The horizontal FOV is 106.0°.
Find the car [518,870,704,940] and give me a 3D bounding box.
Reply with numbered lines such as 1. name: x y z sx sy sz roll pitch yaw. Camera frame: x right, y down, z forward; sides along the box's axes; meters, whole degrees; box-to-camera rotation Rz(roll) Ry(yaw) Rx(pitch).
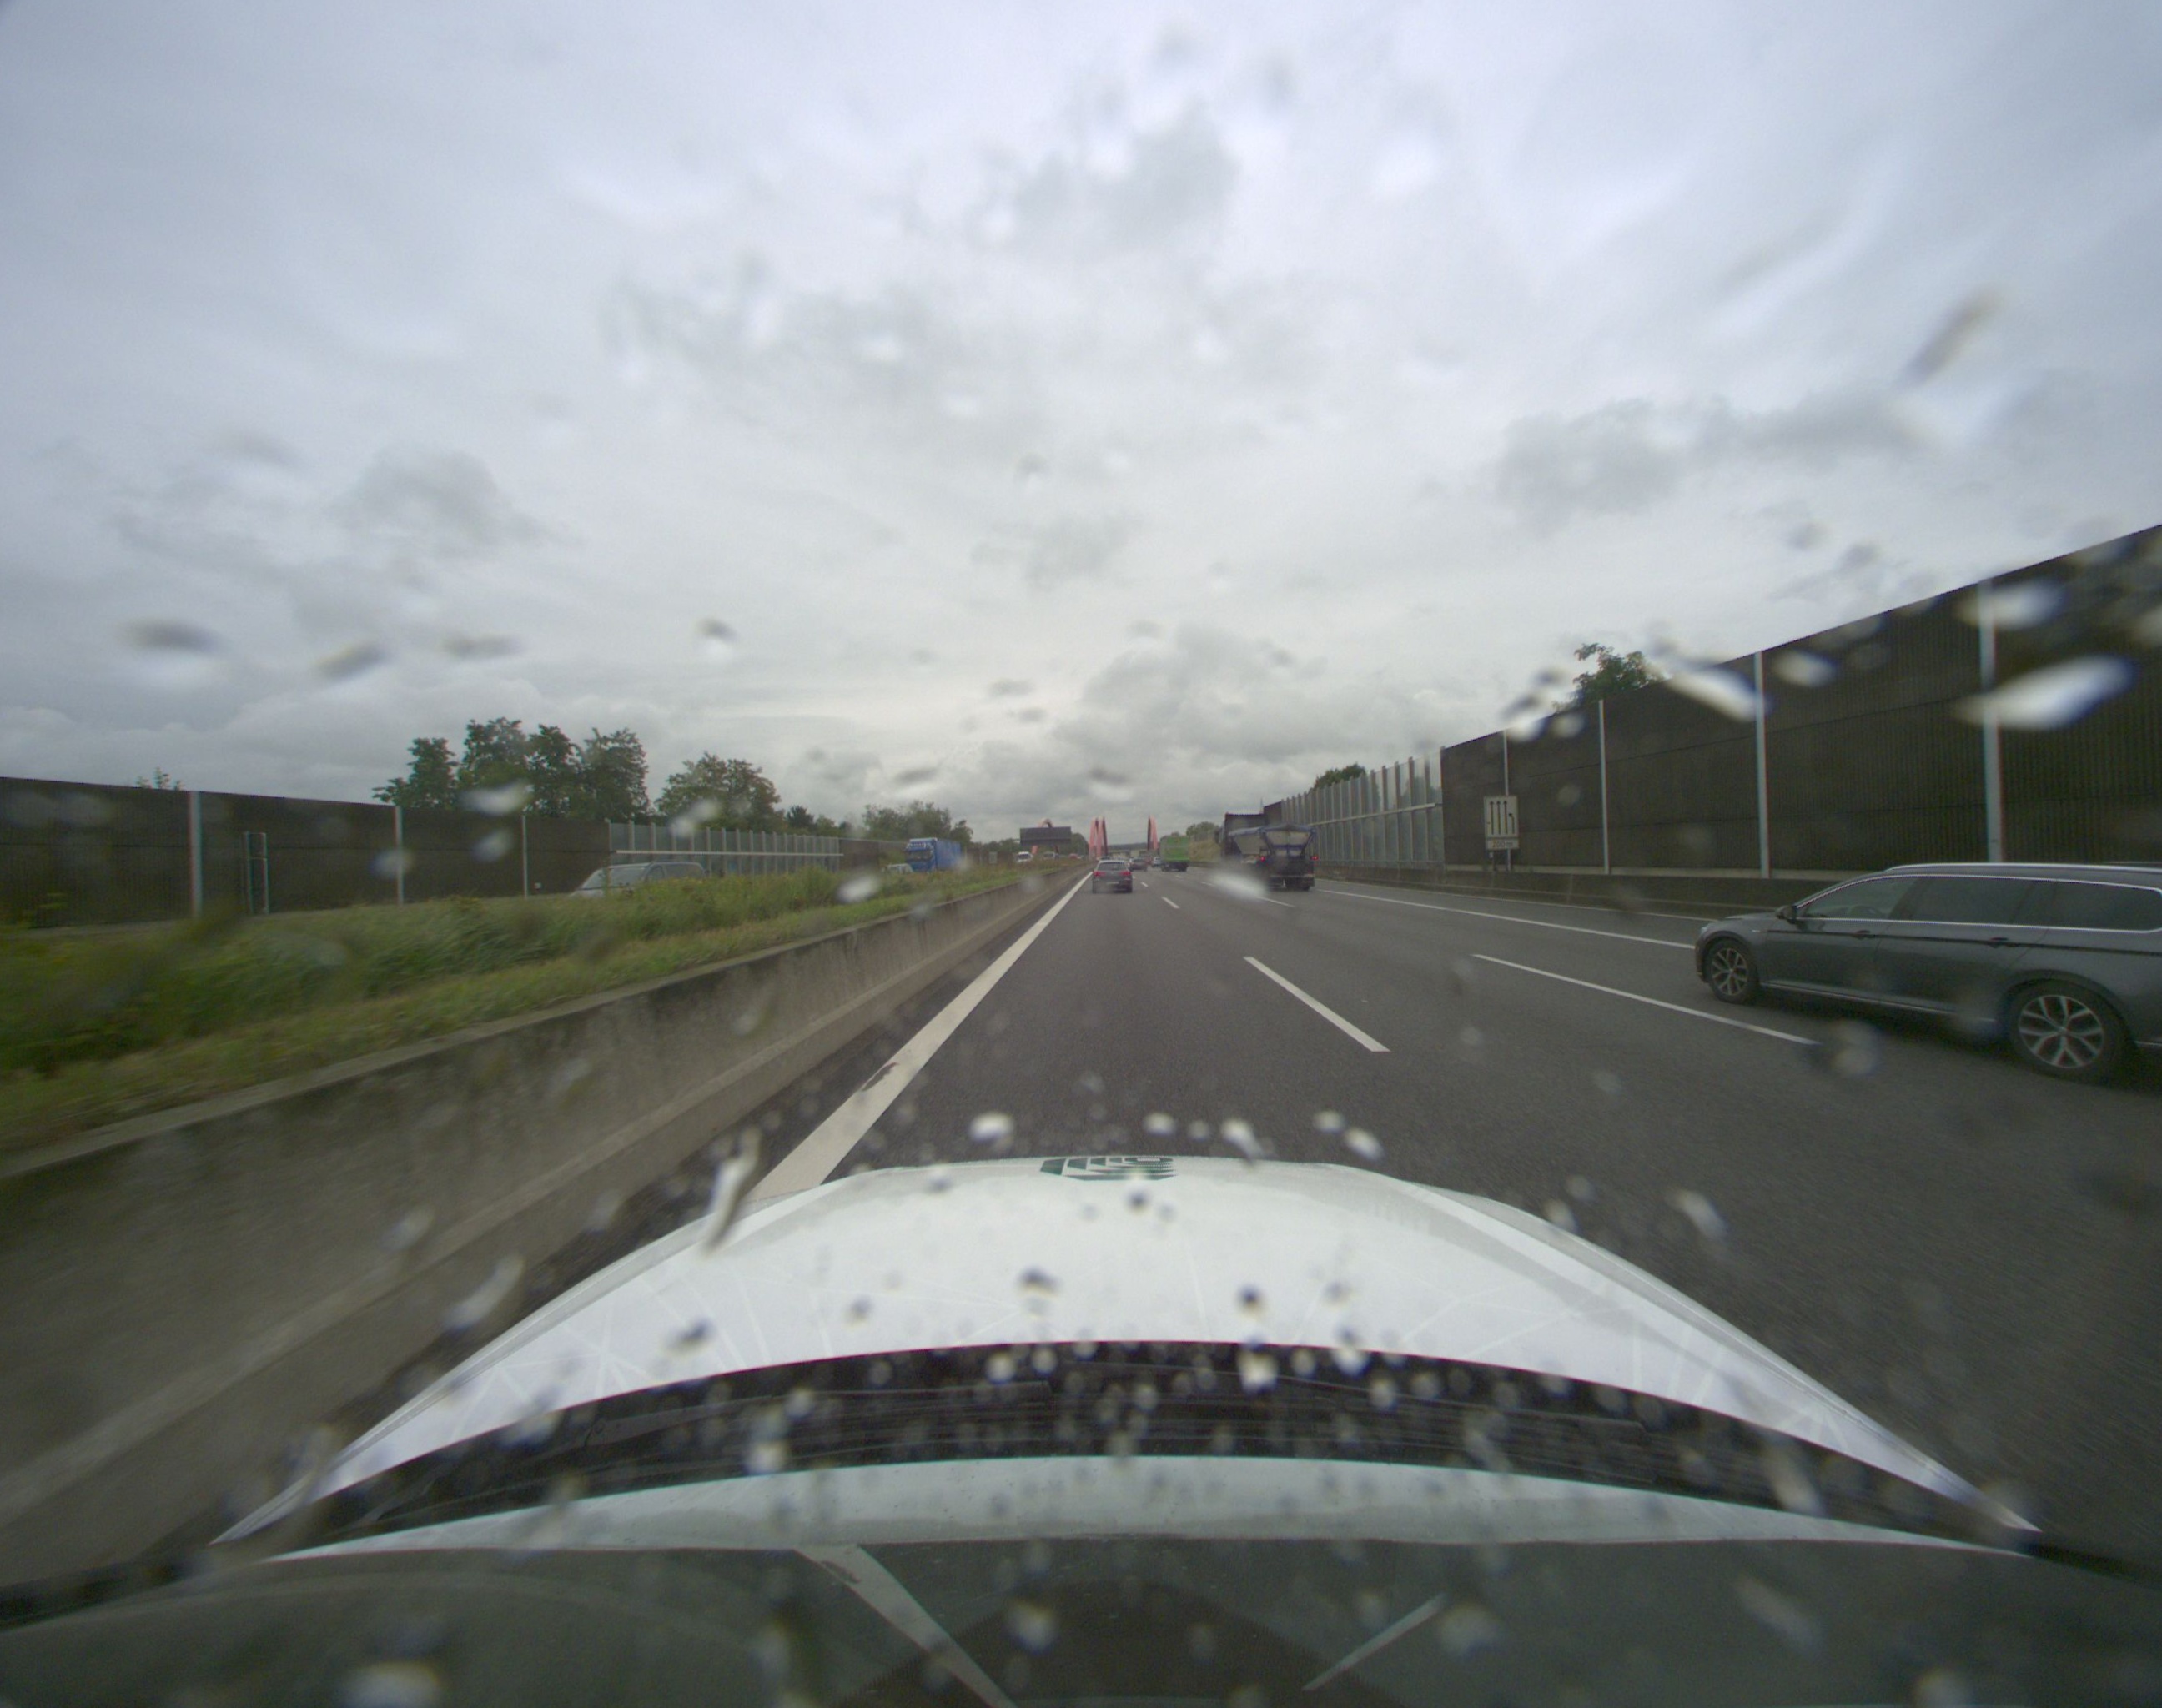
1. car: -12.080 1.247 21.403 1.986 1.541 4.771 0 0 2

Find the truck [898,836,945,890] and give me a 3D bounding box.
1. truck: -14.863 0.818 76.312 3.177 4.858 5.419 0 -1 1

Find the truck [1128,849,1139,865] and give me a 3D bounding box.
1. truck: 15.275 0.916 236.567 3.032 4.734 7.685 0 -1 3

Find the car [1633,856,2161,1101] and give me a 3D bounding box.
1. car: 7.361 0.743 6.857 1.933 1.427 5.290 0 0 1

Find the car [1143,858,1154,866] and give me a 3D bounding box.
1. car: 13.014 1.522 156.447 1.949 1.647 4.002 0 0 2

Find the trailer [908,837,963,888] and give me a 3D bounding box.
1. trailer: -14.827 0.882 84.236 3.206 4.885 13.525 0 0 0

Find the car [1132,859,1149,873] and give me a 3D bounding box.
1. car: 6.388 1.291 87.692 1.775 1.406 3.628 -1 0 2

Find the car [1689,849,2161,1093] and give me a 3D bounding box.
1. car: 7.296 0.712 6.474 1.657 1.456 4.471 0 0 1

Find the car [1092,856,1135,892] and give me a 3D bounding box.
1. car: 1.455 0.847 35.786 1.756 1.453 4.003 0 0 3

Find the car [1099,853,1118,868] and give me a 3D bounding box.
1. car: 3.033 0.721 89.752 1.986 1.585 4.001 -2 0 1

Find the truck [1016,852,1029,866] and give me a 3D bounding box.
1. truck: -12.649 1.132 176.256 2.613 3.019 5.611 0 -1 -1

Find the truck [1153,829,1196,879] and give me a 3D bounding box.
1. truck: 10.266 0.032 90.520 3.981 5.266 11.226 0 -1 3

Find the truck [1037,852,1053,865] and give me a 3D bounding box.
1. truck: -8.653 1.050 196.500 2.944 3.067 8.731 0 0 2

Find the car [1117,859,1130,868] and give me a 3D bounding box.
1. car: 6.995 1.537 134.918 1.986 1.354 4.001 -2 0 1

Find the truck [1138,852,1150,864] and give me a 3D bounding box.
1. truck: 13.354 0.841 172.803 2.351 2.506 6.148 0 0 3

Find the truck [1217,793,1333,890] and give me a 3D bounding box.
1. truck: 9.178 -0.465 40.442 3.077 3.950 12.952 -2 -1 2

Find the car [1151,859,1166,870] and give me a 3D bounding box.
1. car: 11.907 1.639 124.814 1.986 1.619 5.330 0 0 2

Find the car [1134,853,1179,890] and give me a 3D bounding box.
1. car: 3.804 0.845 41.749 1.986 1.750 4.001 -2 0 1
